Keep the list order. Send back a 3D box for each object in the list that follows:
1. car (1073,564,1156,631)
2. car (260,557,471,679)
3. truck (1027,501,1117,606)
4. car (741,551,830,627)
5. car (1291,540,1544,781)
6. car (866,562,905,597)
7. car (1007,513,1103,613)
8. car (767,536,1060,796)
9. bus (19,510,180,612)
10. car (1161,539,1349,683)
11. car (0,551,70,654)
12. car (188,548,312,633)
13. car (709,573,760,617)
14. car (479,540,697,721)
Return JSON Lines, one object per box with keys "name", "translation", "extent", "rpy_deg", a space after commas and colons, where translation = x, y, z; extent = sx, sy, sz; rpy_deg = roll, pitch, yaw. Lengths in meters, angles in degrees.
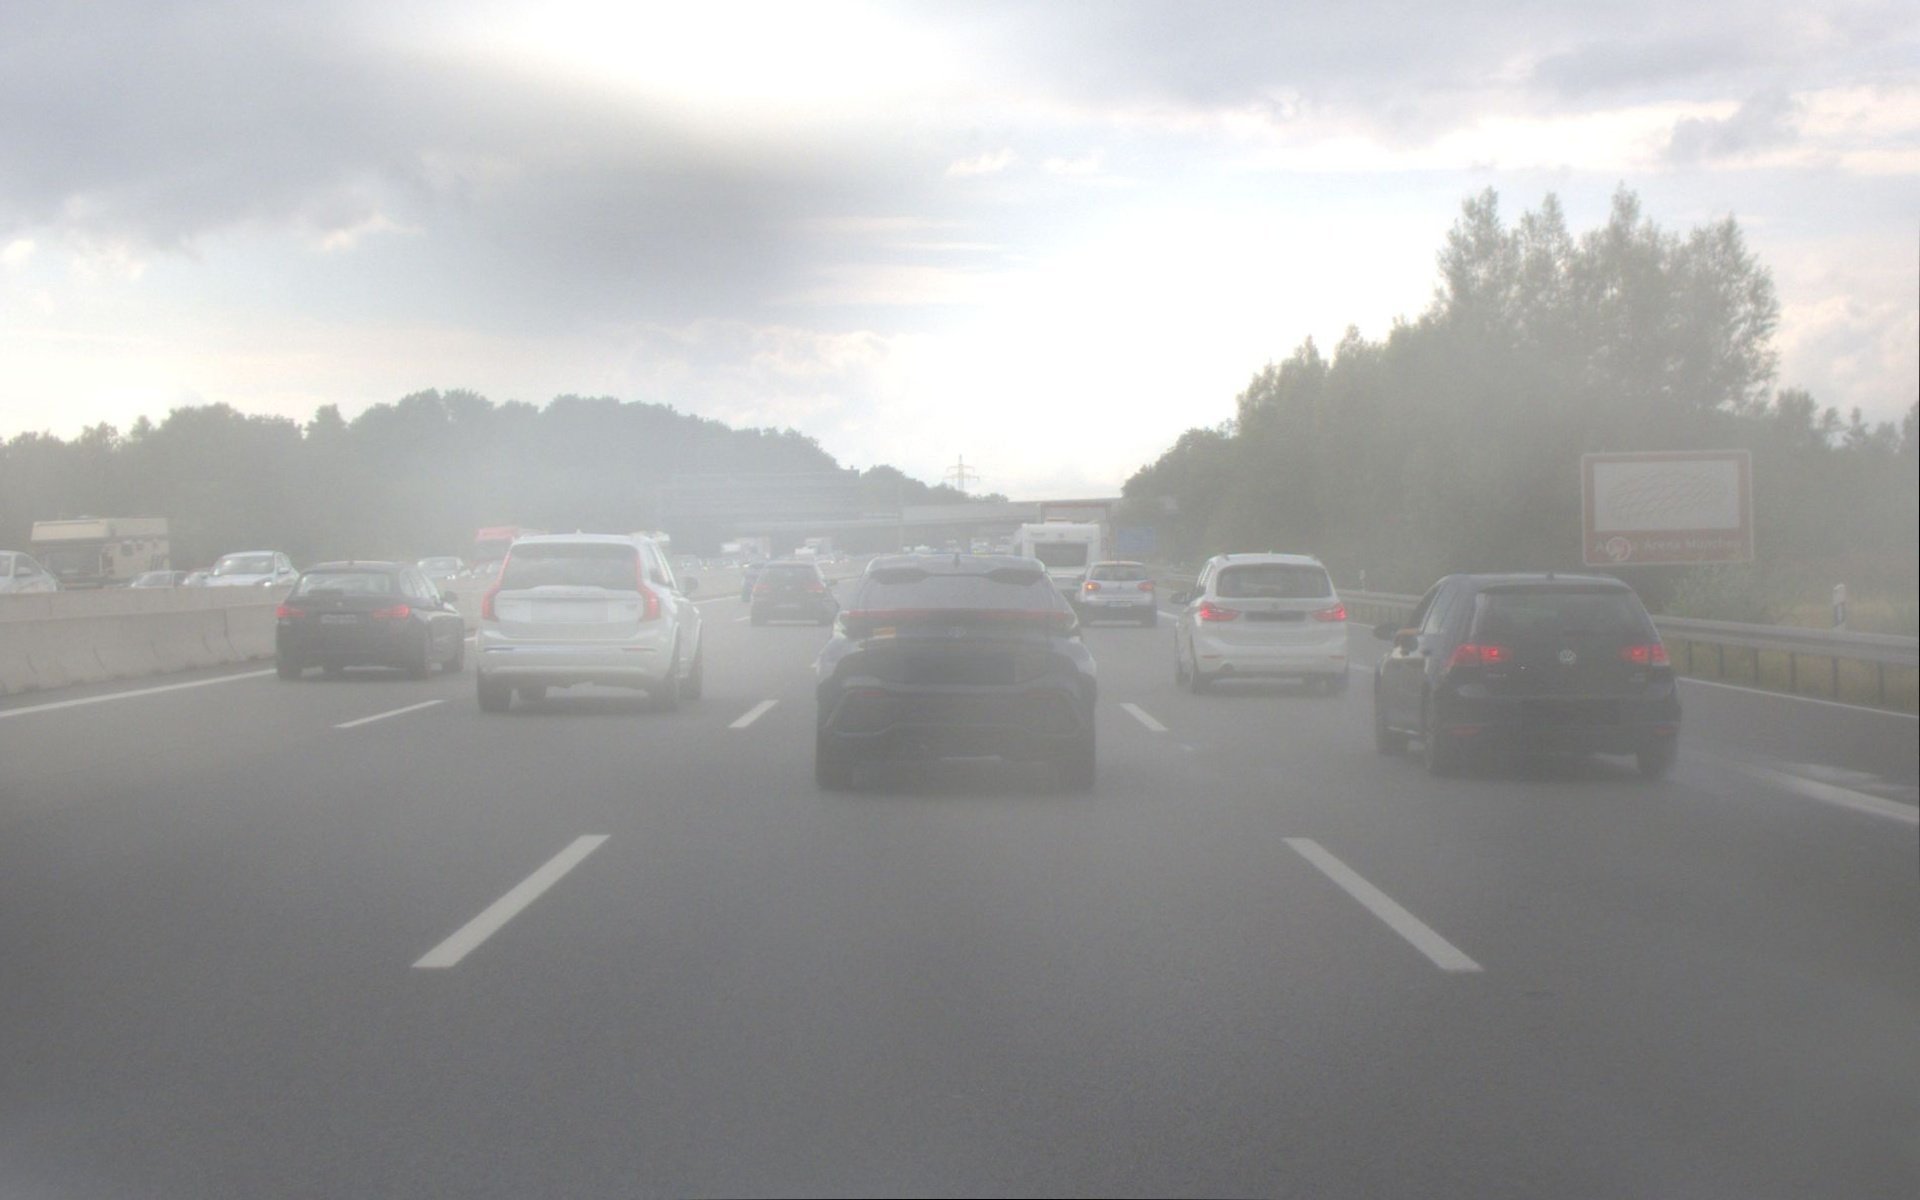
{"name": "car", "translation": [3.494, -0.077, 78.286], "extent": [1.795, 1.472, 4.037], "rpy_deg": [0, 1, 1]}
{"name": "car", "translation": [-7.504, 0.194, 43.763], "extent": [1.781, 1.476, 4.352], "rpy_deg": [0, 1, 2]}
{"name": "truck", "translation": [4.084, -1.709, 127.077], "extent": [3.133, 3.697, 9.847], "rpy_deg": [0, 1, 1]}
{"name": "car", "translation": [-3.924, -0.259, 77.879], "extent": [1.881, 1.680, 4.000], "rpy_deg": [0, 1, -1]}
{"name": "car", "translation": [3.422, 0.386, 25.608], "extent": [1.707, 1.625, 4.455], "rpy_deg": [0, 1, 8]}
{"name": "car", "translation": [-3.649, -1.011, 168.850], "extent": [1.881, 1.680, 4.000], "rpy_deg": [0, 1, -1]}
{"name": "car", "translation": [2.768, -1.102, 102.467], "extent": [2.567, 2.885, 7.534], "rpy_deg": [0, 1, -1]}
{"name": "car", "translation": [-0.413, 0.382, 23.583], "extent": [1.780, 1.607, 4.598], "rpy_deg": [0, 1, -4]}
{"name": "bus", "translation": [-29.218, -1.320, 117.170], "extent": [2.831, 3.321, 9.963], "rpy_deg": [0, 1, 1]}
{"name": "car", "translation": [3.414, 0.099, 40.555], "extent": [1.810, 1.593, 4.696], "rpy_deg": [0, 1, 0]}
{"name": "car", "translation": [-18.156, 0.018, 63.704], "extent": [1.993, 1.846, 5.078], "rpy_deg": [0, 1, 0]}
{"name": "car", "translation": [-17.177, -0.251, 83.404], "extent": [1.993, 2.007, 4.763], "rpy_deg": [0, 1, 0]}
{"name": "car", "translation": [-7.783, -0.193, 119.074], "extent": [1.563, 1.472, 3.920], "rpy_deg": [0, 1, -1]}
{"name": "car", "translation": [-3.692, 0.268, 34.763], "extent": [1.781, 1.710, 4.353], "rpy_deg": [0, 1, -1]}
